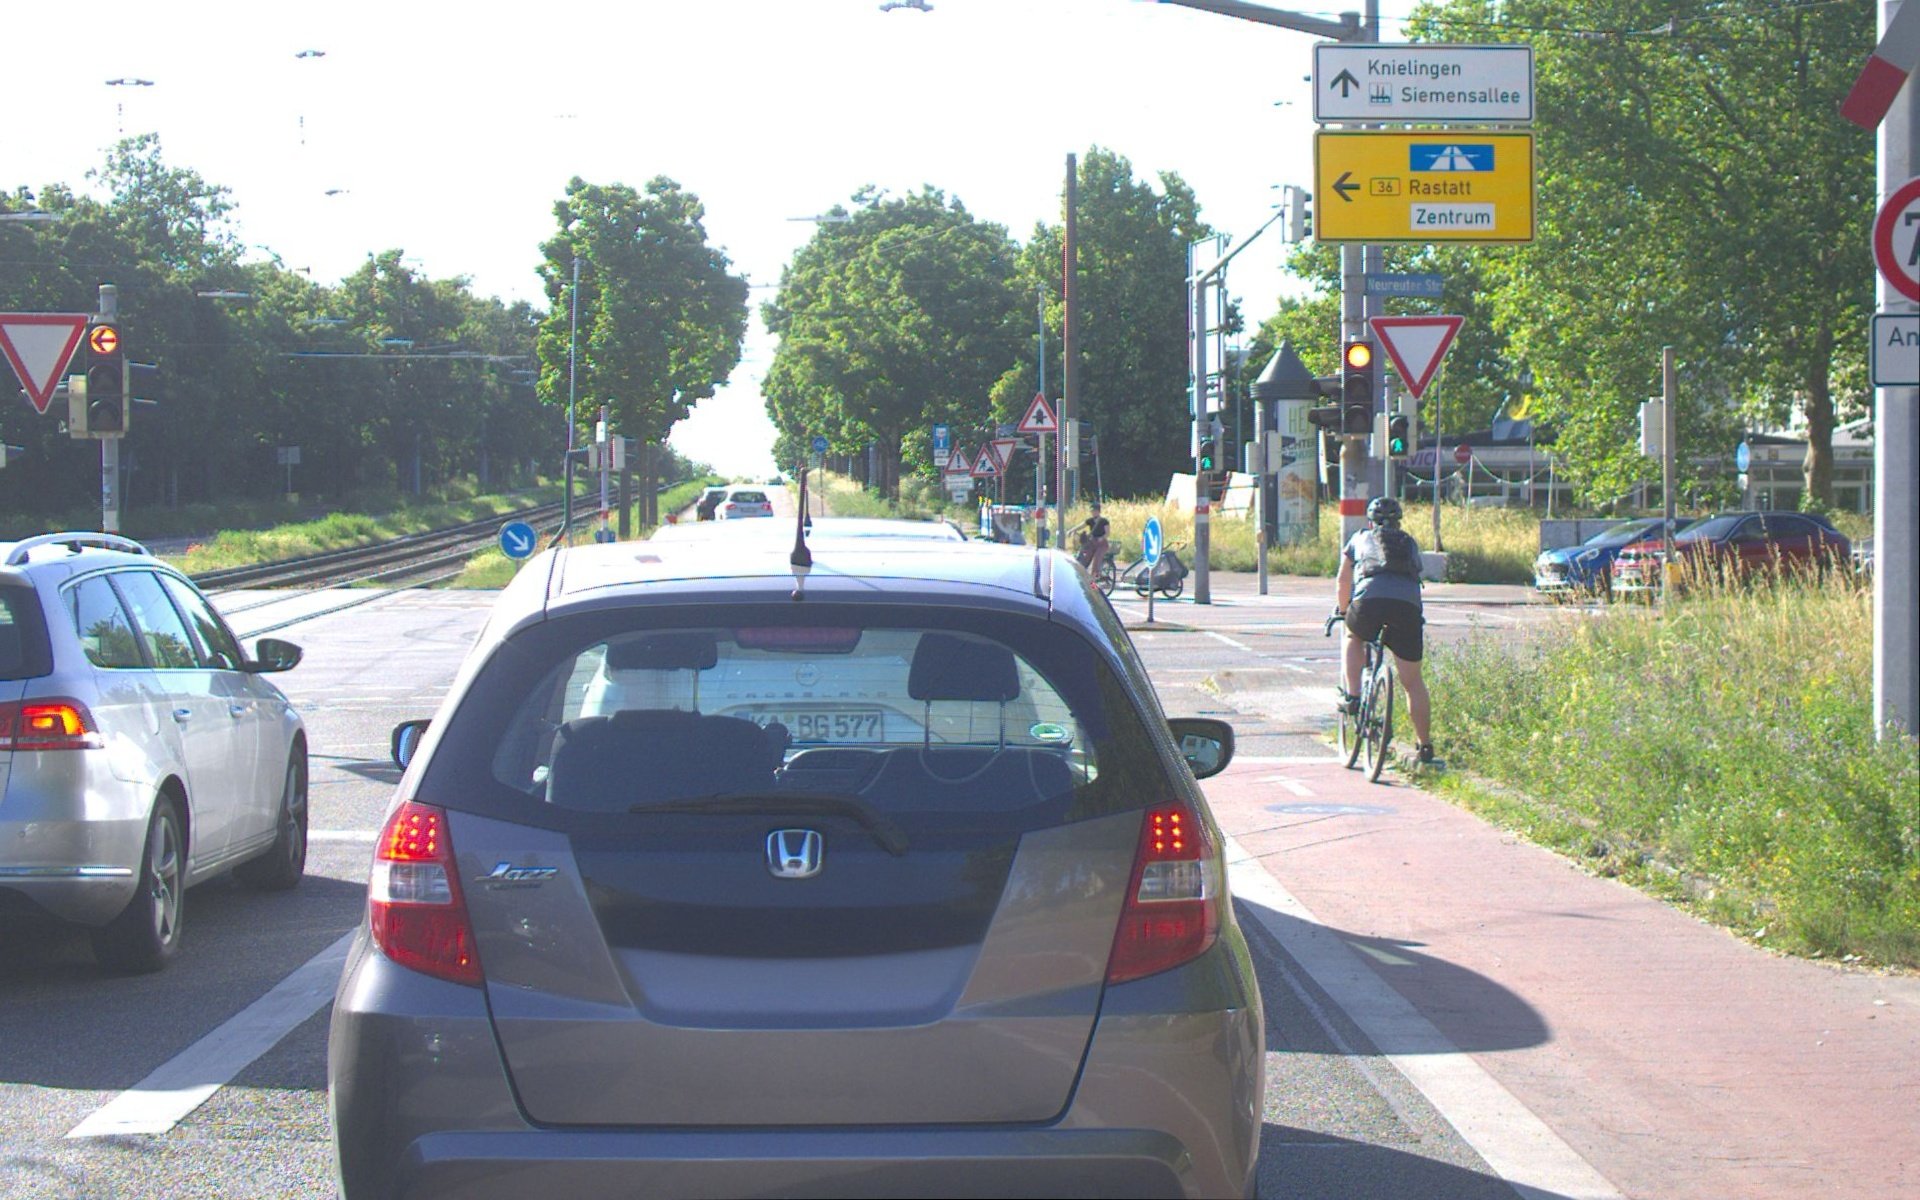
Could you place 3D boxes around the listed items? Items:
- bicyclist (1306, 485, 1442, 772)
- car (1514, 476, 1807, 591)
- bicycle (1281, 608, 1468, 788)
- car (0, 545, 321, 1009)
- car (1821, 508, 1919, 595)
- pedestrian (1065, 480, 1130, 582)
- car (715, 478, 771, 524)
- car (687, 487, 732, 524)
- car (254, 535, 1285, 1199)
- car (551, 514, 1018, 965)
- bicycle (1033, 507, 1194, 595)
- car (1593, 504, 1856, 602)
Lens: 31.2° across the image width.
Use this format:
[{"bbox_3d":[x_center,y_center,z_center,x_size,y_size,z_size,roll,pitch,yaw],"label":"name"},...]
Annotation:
[{"bbox_3d":[2.538,0.166,21.174,0.666,1.710,0.948,1,0,-1],"label":"bicyclist"},{"bbox_3d":[12.274,-1.151,60.263,4.686,1.873,2.001,1,1,-23],"label":"car"},{"bbox_3d":[2.526,0.570,21.260,0.722,0.985,2.876,1,1,-1],"label":"bicycle"},{"bbox_3d":[-3.534,0.522,12.789,1.619,1.452,4.085,1,1,-1],"label":"car"},{"bbox_3d":[17.796,-0.906,63.040,3.742,1.564,1.491,-1,1,-23],"label":"car"},{"bbox_3d":[2.483,-1.255,62.152,0.852,1.830,0.790,-1,1,-41],"label":"pedestrian"},{"bbox_3d":[-7.235,-3.277,114.392,1.709,1.473,4.001,-1,1,-5],"label":"car"},{"bbox_3d":[-9.744,-3.668,133.683,1.522,1.374,3.677,-1,1,-8],"label":"car"},{"bbox_3d":[-0.396,0.595,7.372,1.668,1.457,3.587,0,1,-3],"label":"car"},{"bbox_3d":[-0.650,0.443,14.006,1.611,1.557,4.288,0,1,-1],"label":"car"},{"bbox_3d":[2.806,-0.903,62.446,3.205,1.569,0.821,-1,2,-40],"label":"bicycle"},{"bbox_3d":[12.446,-0.782,55.980,3.986,1.525,1.606,-1,1,-23],"label":"car"}]
